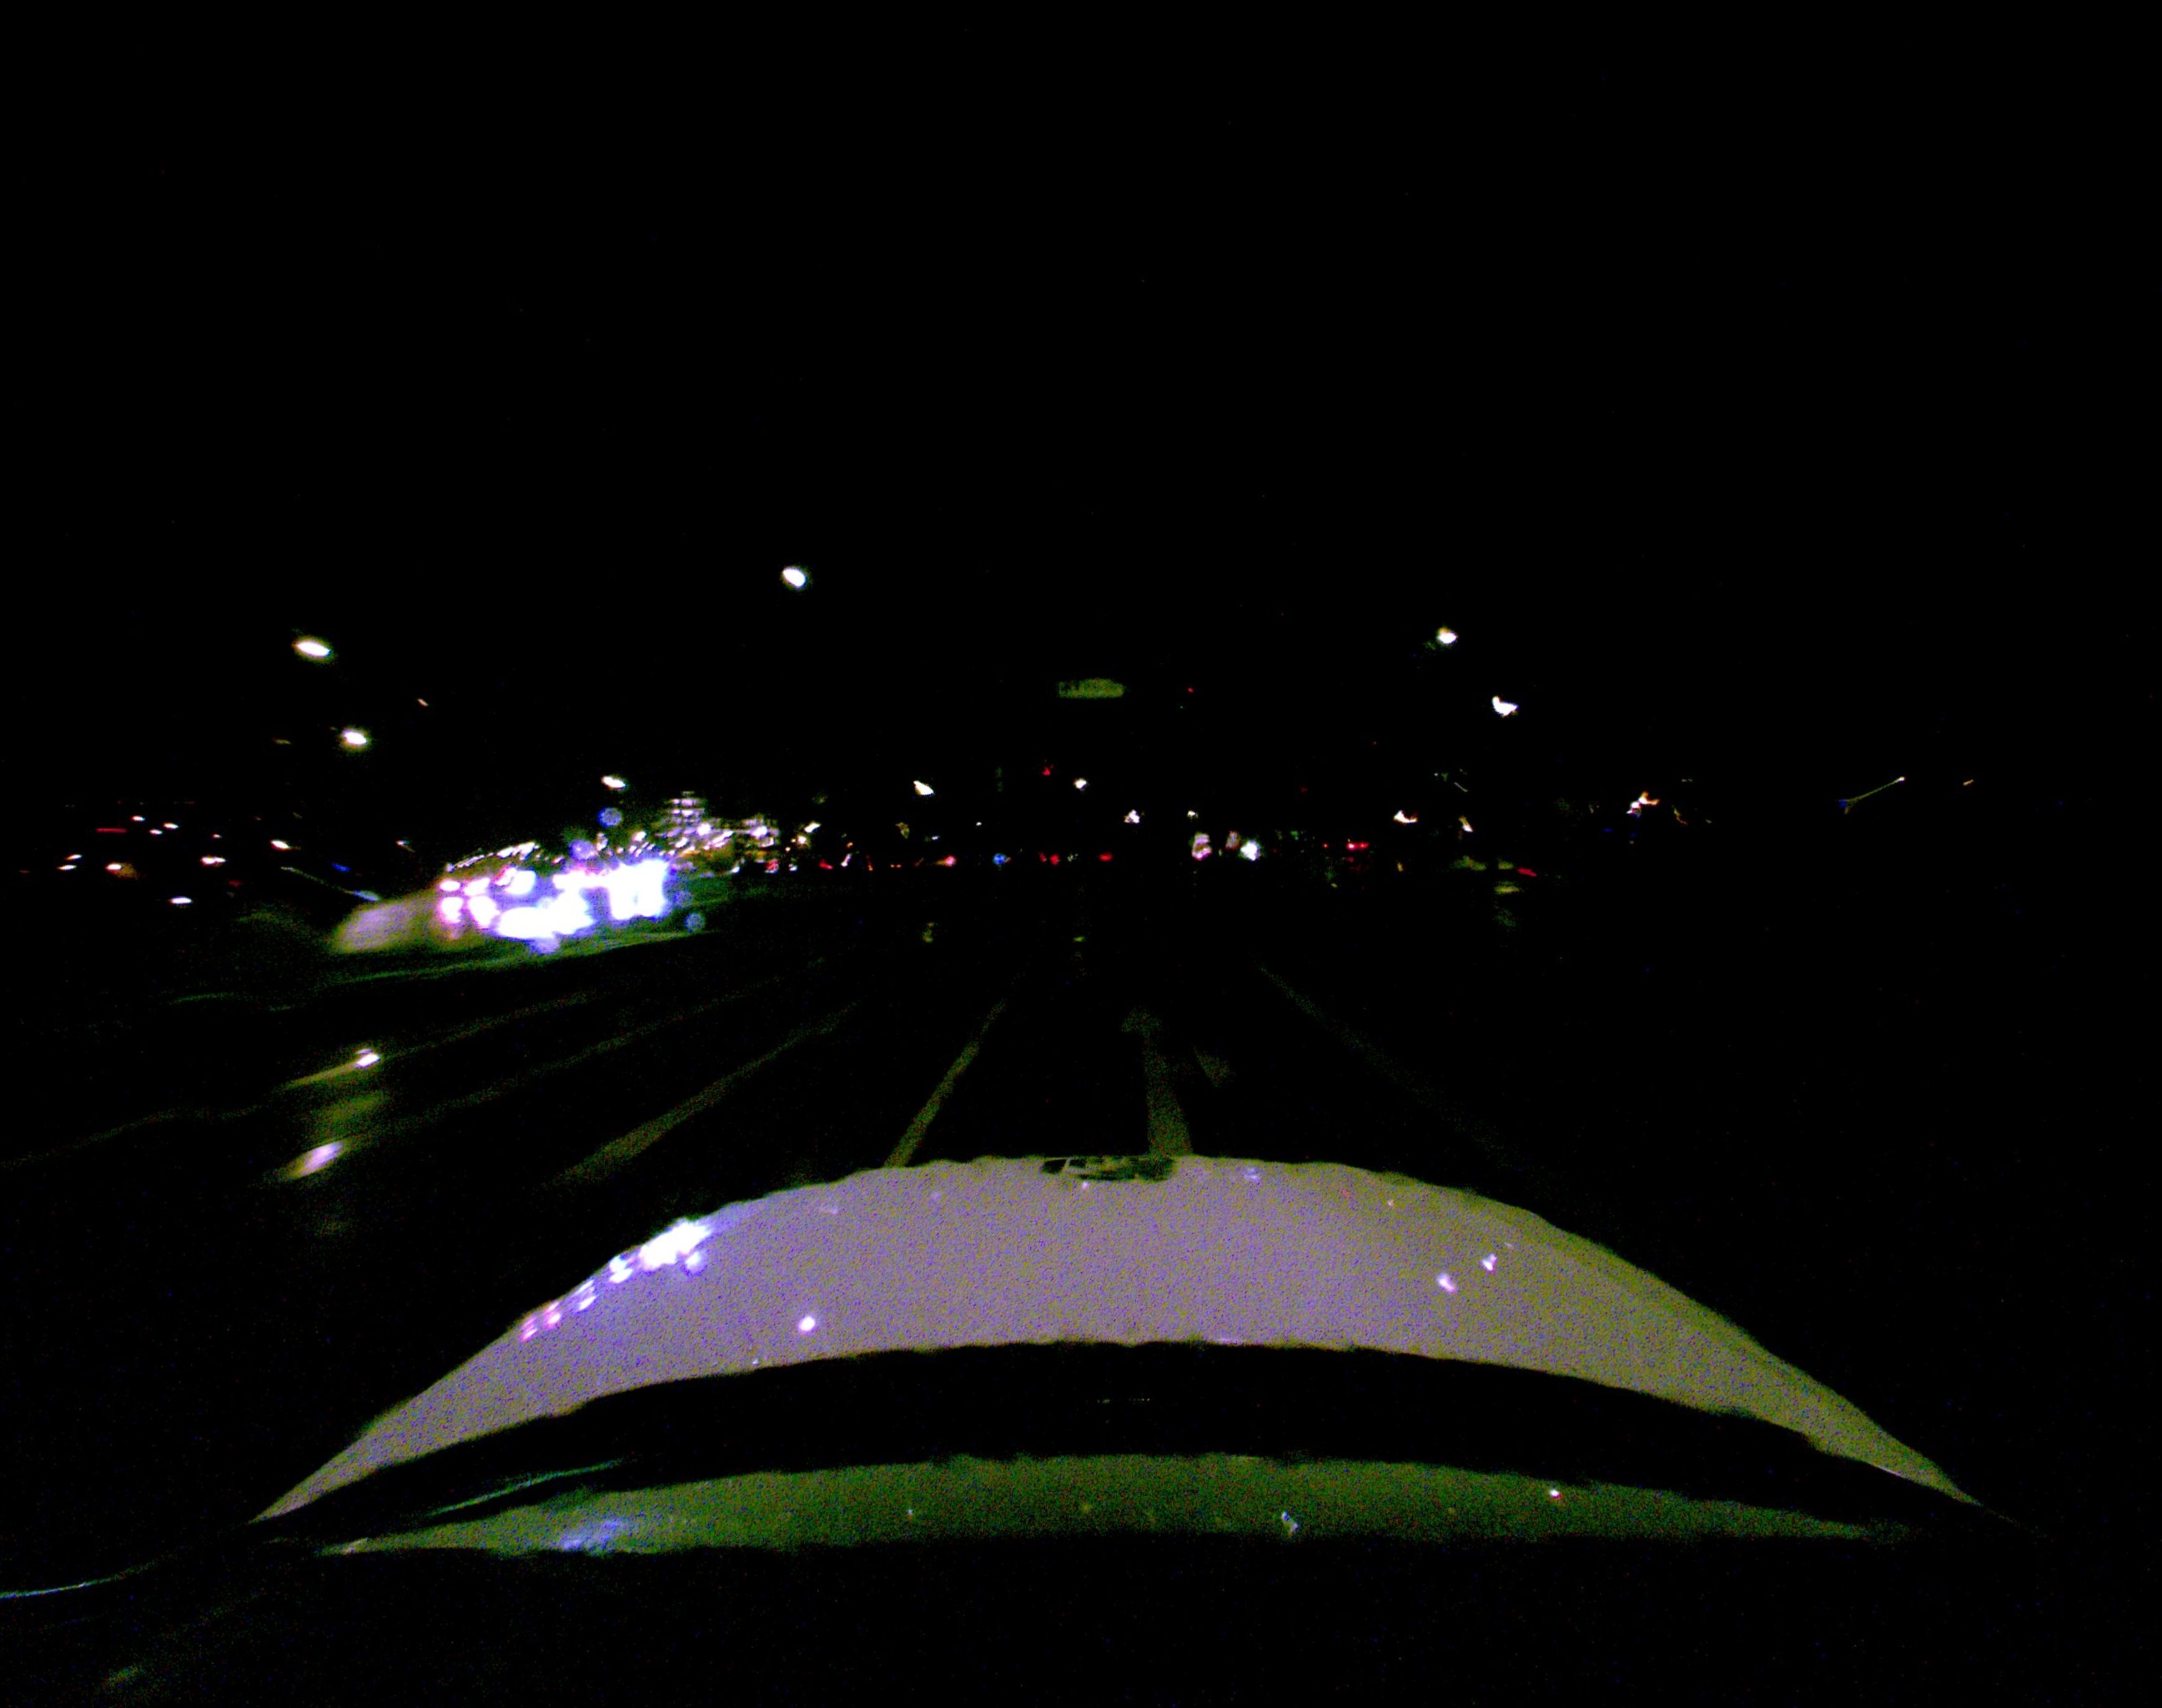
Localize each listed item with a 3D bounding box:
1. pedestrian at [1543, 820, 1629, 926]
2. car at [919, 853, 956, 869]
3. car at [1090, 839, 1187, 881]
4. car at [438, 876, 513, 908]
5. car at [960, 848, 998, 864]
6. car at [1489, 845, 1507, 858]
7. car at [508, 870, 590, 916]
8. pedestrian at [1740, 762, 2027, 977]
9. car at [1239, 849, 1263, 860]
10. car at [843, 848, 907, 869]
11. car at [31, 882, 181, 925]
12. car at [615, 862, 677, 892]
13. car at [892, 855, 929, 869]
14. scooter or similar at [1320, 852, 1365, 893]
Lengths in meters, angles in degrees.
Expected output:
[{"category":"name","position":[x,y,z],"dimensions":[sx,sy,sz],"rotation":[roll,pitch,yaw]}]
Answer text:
[{"category":"pedestrian","position":[7.333,0.266,11.860],"dimensions":[0.723,1.485,0.836],"rotation":[-1,0,1]},{"category":"car","position":[-15.806,0.757,89.799],"dimensions":[3.989,1.616,1.830],"rotation":[-1,0,-12]},{"category":"car","position":[2.960,0.289,41.927],"dimensions":[4.555,2.013,1.988],"rotation":[-1,0,-18]},{"category":"car","position":[-33.750,2.083,45.552],"dimensions":[1.999,1.540,4.390],"rotation":[-1,0,-18]},{"category":"car","position":[-11.158,0.213,89.645],"dimensions":[3.940,1.578,1.736],"rotation":[-1,0,-1]},{"category":"car","position":[47.708,-0.311,93.063],"dimensions":[1.700,1.496,3.936],"rotation":[-1,0,29]},{"category":"car","position":[-22.597,1.593,34.787],"dimensions":[2.073,1.716,5.001],"rotation":[-1,0,-23]},{"category":"pedestrian","position":[7.384,0.129,7.629],"dimensions":[1.223,1.794,1.490],"rotation":[-1,0,1]},{"category":"car","position":[28.775,0.084,137.851],"dimensions":[1.974,1.736,4.649],"rotation":[-1,0,40]},{"category":"car","position":[-22.220,0.478,87.791],"dimensions":[6.321,2.089,2.496],"rotation":[-1,0,-24]},{"category":"car","position":[-42.180,2.109,35.392],"dimensions":[1.738,1.574,4.023],"rotation":[-1,0,45]},{"category":"car","position":[-27.823,1.429,52.268],"dimensions":[2.057,1.732,5.113],"rotation":[-1,0,-11]},{"category":"car","position":[-19.570,0.893,93.421],"dimensions":[3.983,1.486,1.765],"rotation":[-1,0,-7]},{"category":"scooter or similar","position":[7.309,0.508,22.780],"dimensions":[1.090,1.098,0.320],"rotation":[-3,-1,29]}]
